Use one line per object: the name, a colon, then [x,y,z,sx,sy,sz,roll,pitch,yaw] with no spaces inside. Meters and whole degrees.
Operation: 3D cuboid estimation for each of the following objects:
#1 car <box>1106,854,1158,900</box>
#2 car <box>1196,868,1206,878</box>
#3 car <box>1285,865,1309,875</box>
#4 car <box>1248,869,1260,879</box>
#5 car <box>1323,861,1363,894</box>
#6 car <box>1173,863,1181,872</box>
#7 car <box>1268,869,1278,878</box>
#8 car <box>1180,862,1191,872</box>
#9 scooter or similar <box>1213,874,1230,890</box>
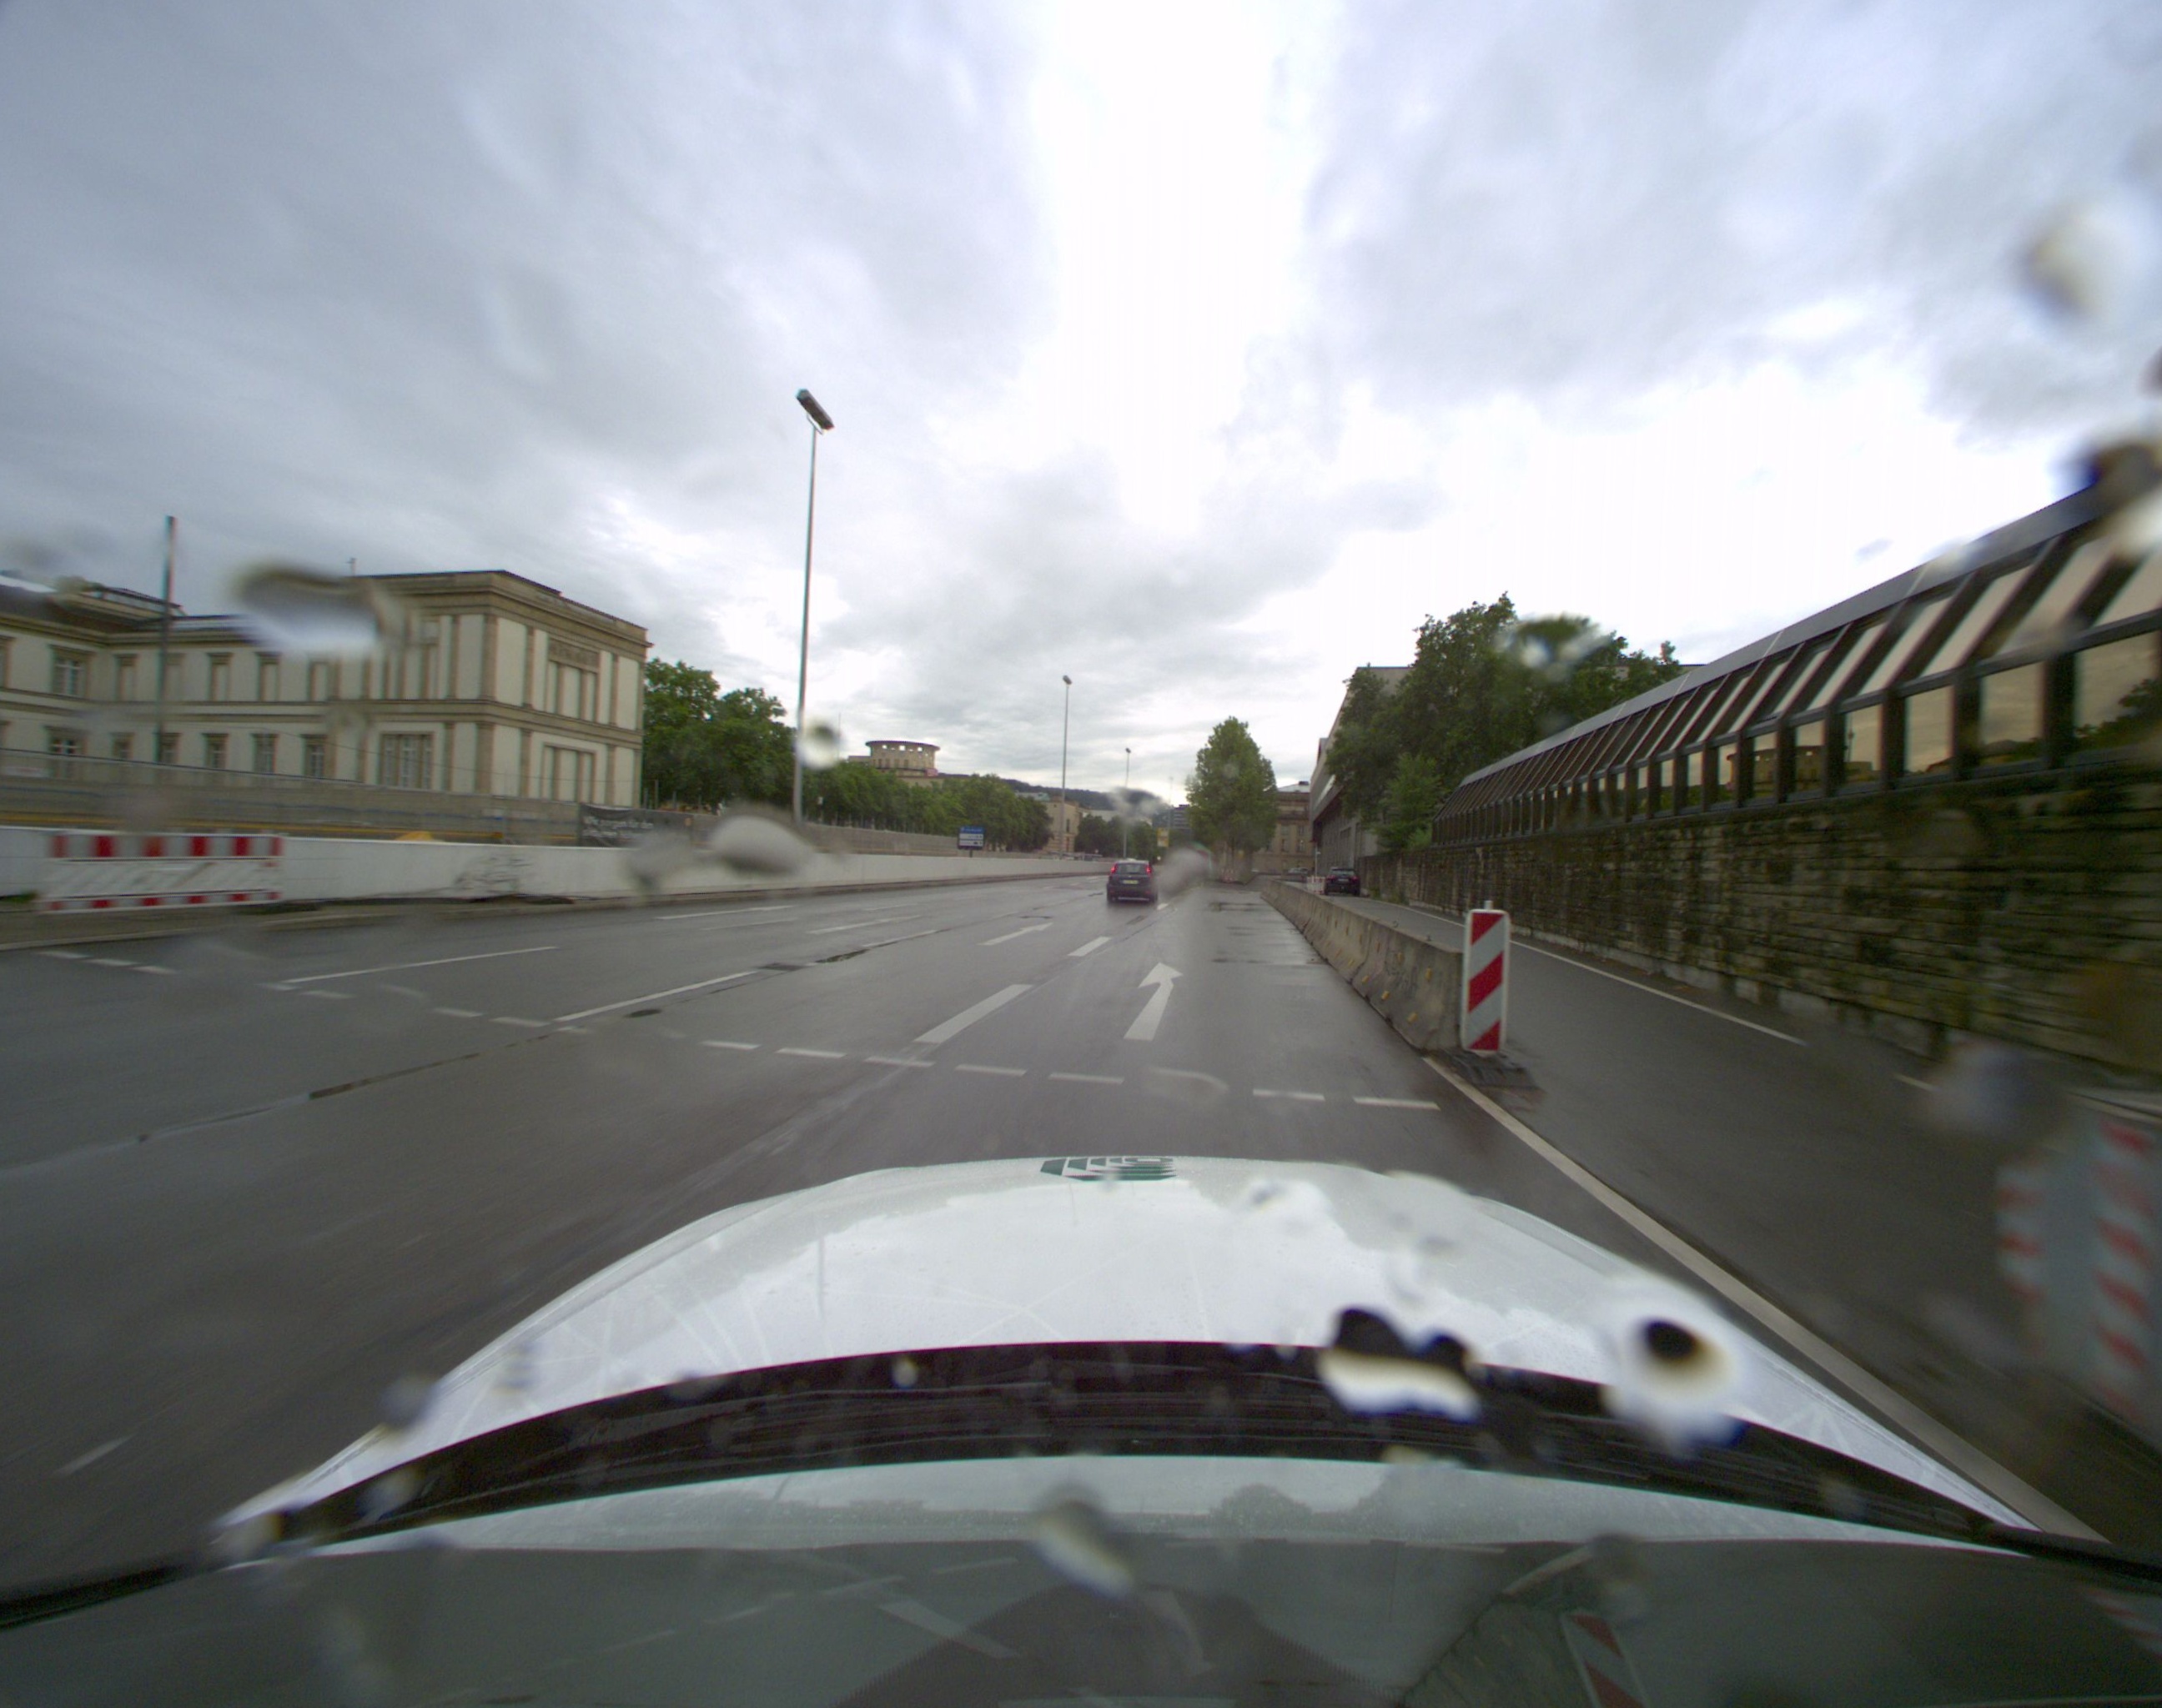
car: [1.846,0.769,28.850,1.662,1.427,3.763,3,0,5]
car: [27.065,4.199,183.161,1.981,2.013,4.012,3,0,11]
car: [37.499,2.868,141.670,3.961,1.560,1.938,1,-4,11]
car: [33.419,3.797,157.156,1.979,1.708,4.016,3,0,16]
car: [13.954,1.222,43.581,1.791,1.552,4.343,4,0,16]
car: [16.558,2.324,140.520,1.378,1.386,3.072,2,-2,7]
car: [41.804,4.223,177.147,1.979,1.709,4.015,3,-2,16]
car: [22.788,2.818,177.742,1.983,2.014,4.006,4,-2,6]
scooter or similar: [12.081,2.402,70.002,1.346,1.286,0.621,4,-3,12]
